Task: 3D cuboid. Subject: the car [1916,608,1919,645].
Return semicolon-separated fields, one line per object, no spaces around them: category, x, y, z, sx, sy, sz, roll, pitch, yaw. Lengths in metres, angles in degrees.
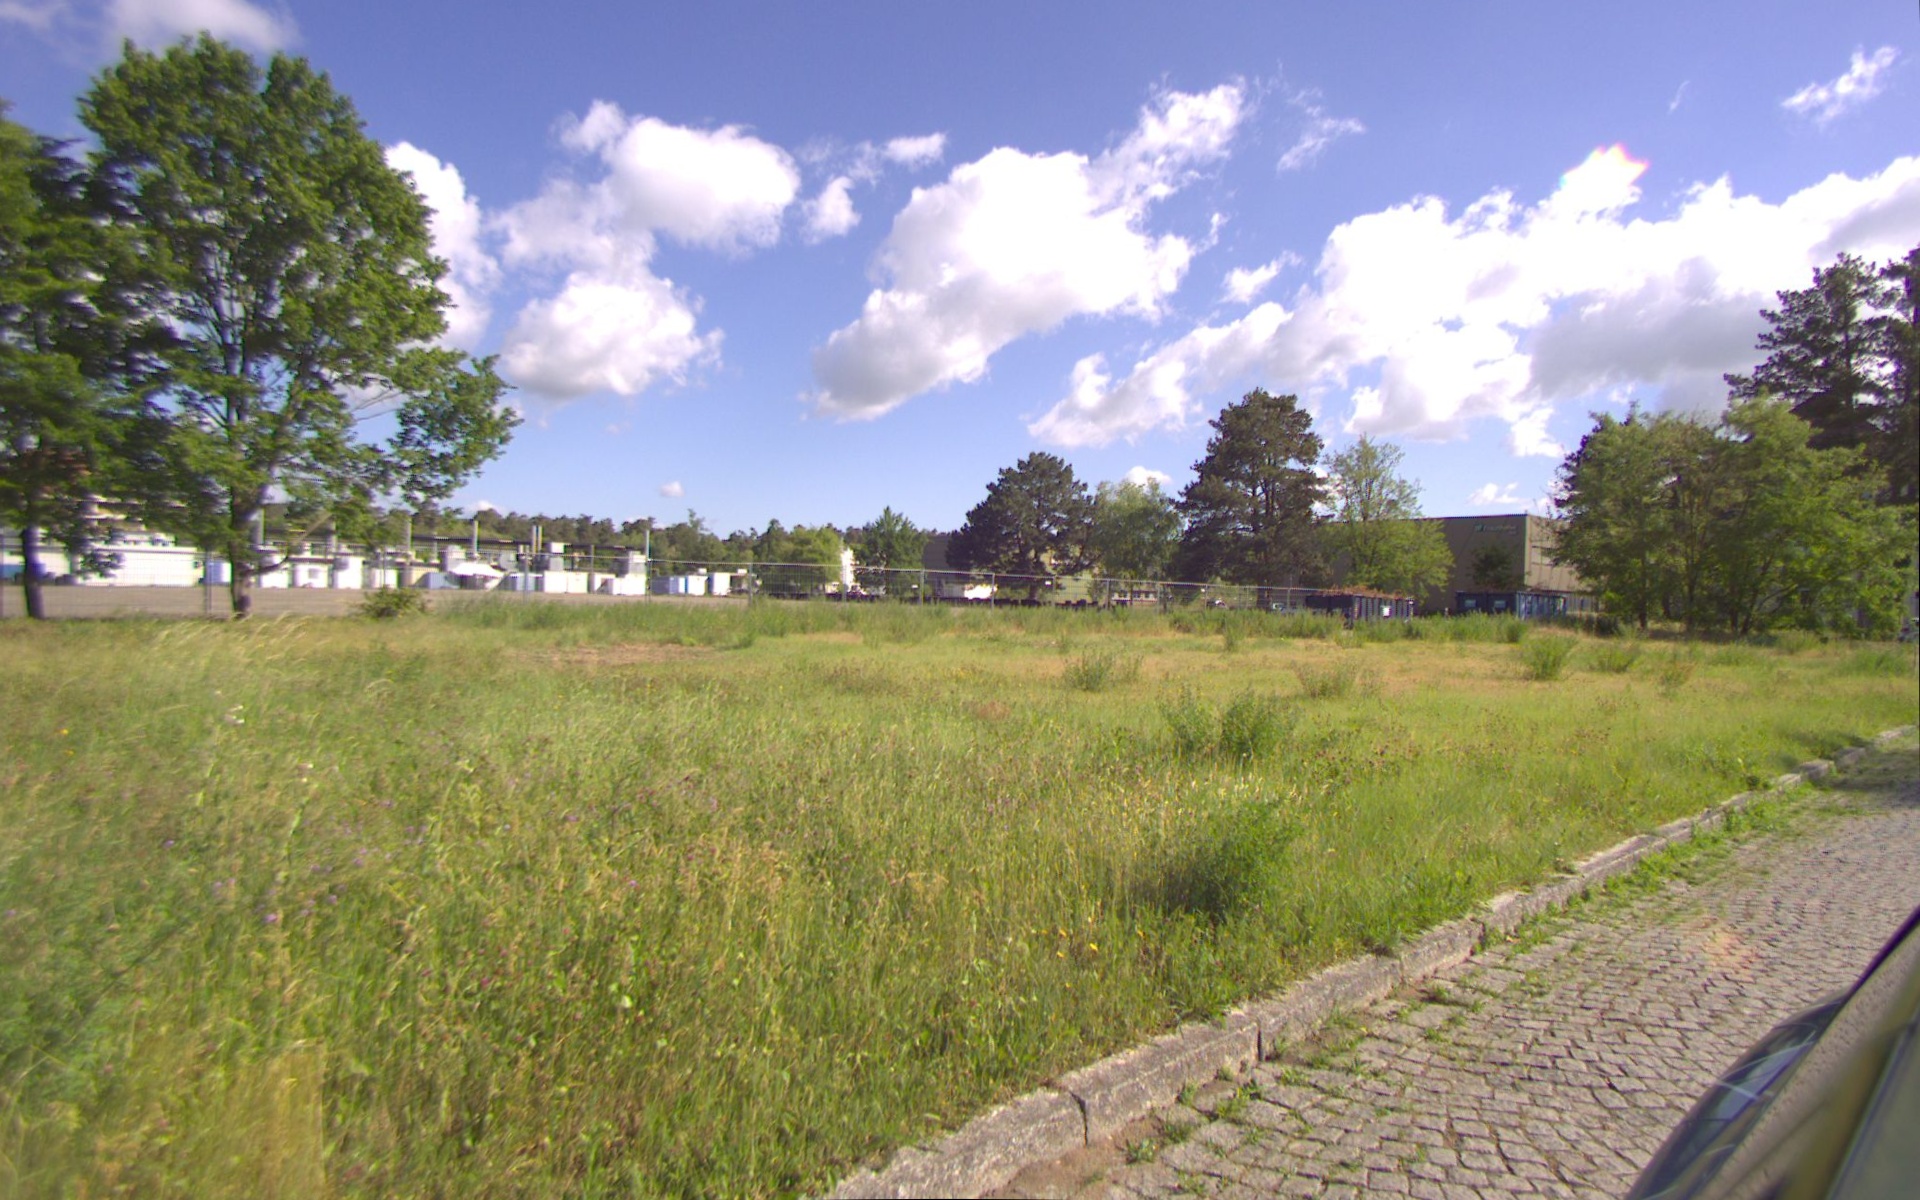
car;39.899;1.212;39.150;1.812;1.458;4.014;2;3;-41

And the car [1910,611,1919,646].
car;43.477;1.365;42.888;1.807;1.482;4.521;1;3;-42

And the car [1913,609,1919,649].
car;37.893;1.248;37.344;1.721;1.494;3.749;1;4;-41
